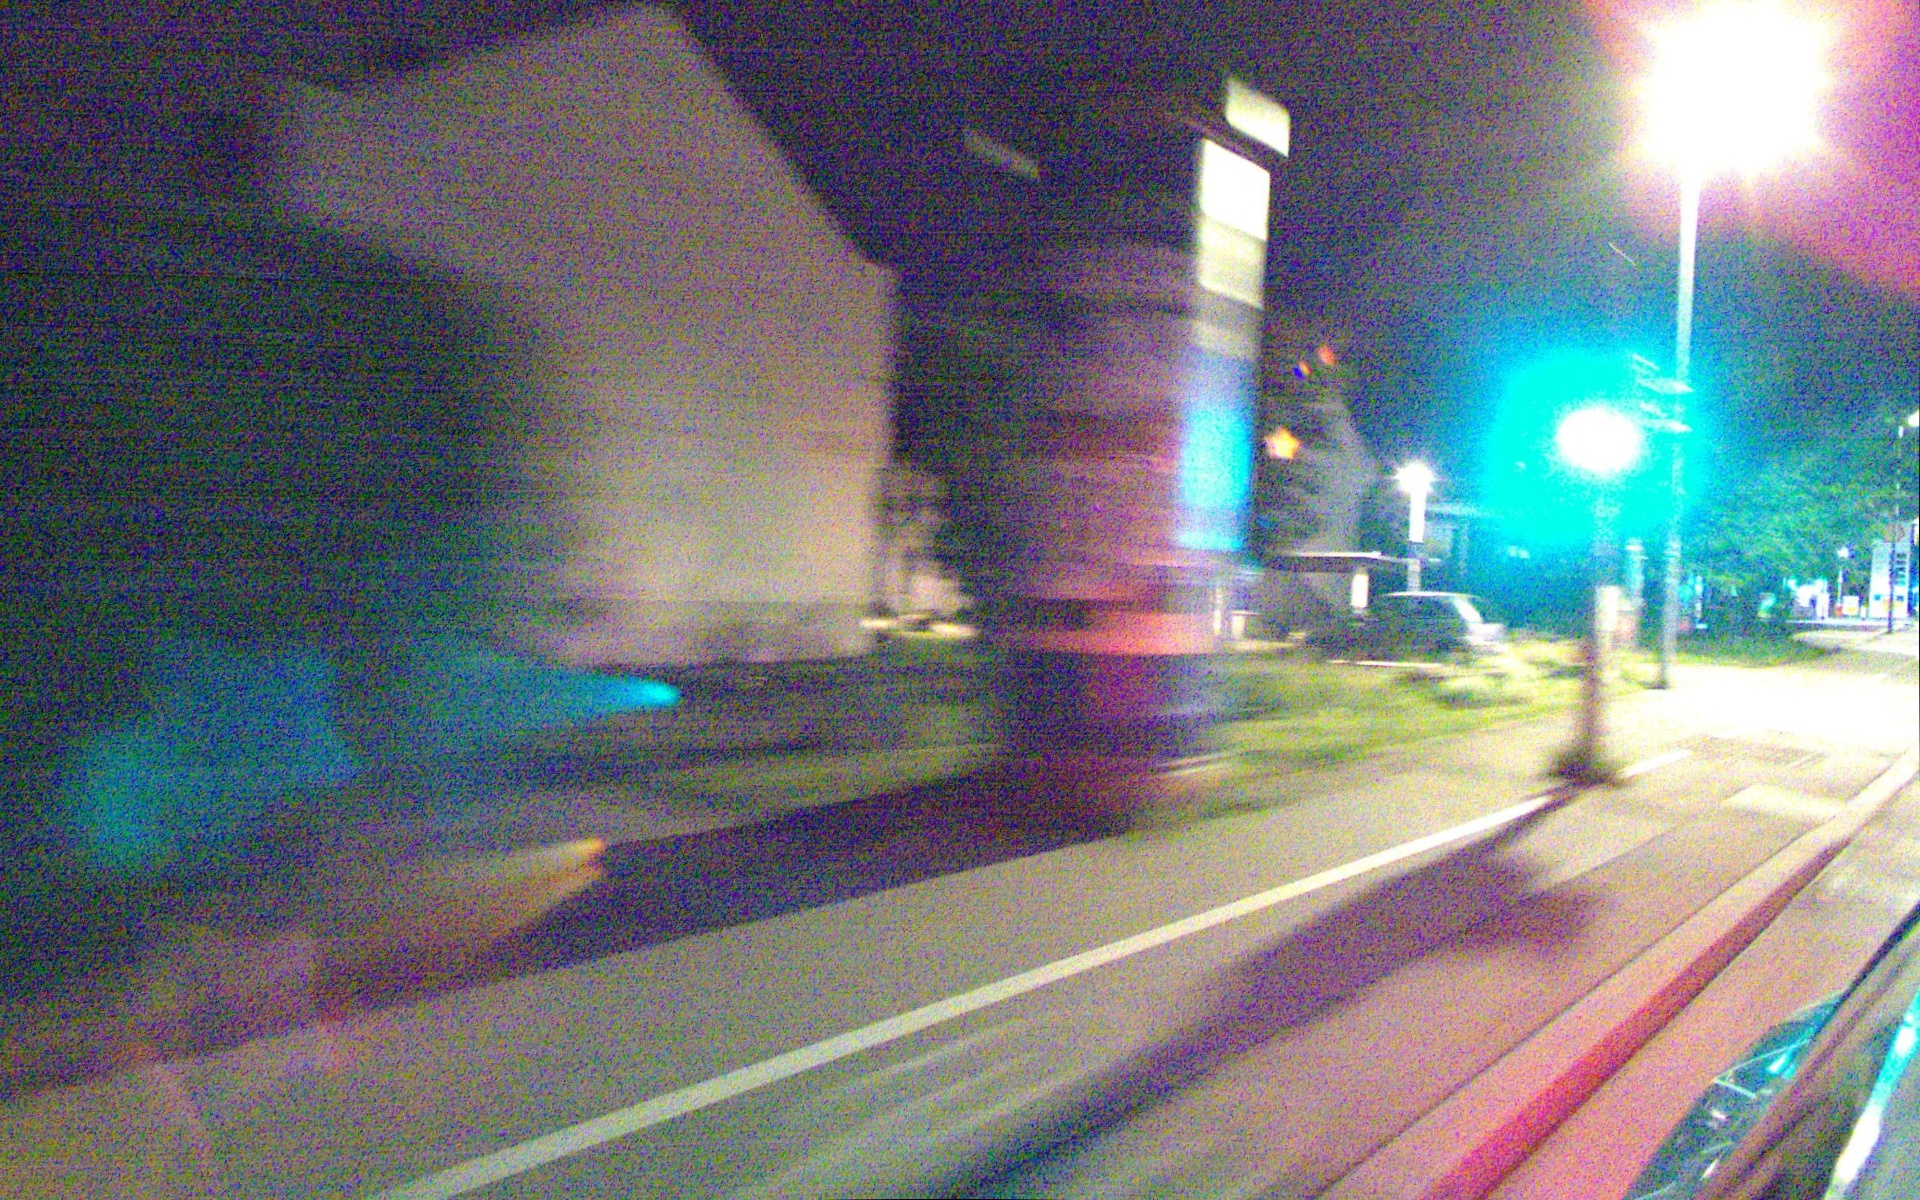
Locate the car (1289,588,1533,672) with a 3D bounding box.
[{"bbox_3d":[8.319,0.472,18.897,1.827,1.371,3.771,-1,1,-41],"label":"car"}]
